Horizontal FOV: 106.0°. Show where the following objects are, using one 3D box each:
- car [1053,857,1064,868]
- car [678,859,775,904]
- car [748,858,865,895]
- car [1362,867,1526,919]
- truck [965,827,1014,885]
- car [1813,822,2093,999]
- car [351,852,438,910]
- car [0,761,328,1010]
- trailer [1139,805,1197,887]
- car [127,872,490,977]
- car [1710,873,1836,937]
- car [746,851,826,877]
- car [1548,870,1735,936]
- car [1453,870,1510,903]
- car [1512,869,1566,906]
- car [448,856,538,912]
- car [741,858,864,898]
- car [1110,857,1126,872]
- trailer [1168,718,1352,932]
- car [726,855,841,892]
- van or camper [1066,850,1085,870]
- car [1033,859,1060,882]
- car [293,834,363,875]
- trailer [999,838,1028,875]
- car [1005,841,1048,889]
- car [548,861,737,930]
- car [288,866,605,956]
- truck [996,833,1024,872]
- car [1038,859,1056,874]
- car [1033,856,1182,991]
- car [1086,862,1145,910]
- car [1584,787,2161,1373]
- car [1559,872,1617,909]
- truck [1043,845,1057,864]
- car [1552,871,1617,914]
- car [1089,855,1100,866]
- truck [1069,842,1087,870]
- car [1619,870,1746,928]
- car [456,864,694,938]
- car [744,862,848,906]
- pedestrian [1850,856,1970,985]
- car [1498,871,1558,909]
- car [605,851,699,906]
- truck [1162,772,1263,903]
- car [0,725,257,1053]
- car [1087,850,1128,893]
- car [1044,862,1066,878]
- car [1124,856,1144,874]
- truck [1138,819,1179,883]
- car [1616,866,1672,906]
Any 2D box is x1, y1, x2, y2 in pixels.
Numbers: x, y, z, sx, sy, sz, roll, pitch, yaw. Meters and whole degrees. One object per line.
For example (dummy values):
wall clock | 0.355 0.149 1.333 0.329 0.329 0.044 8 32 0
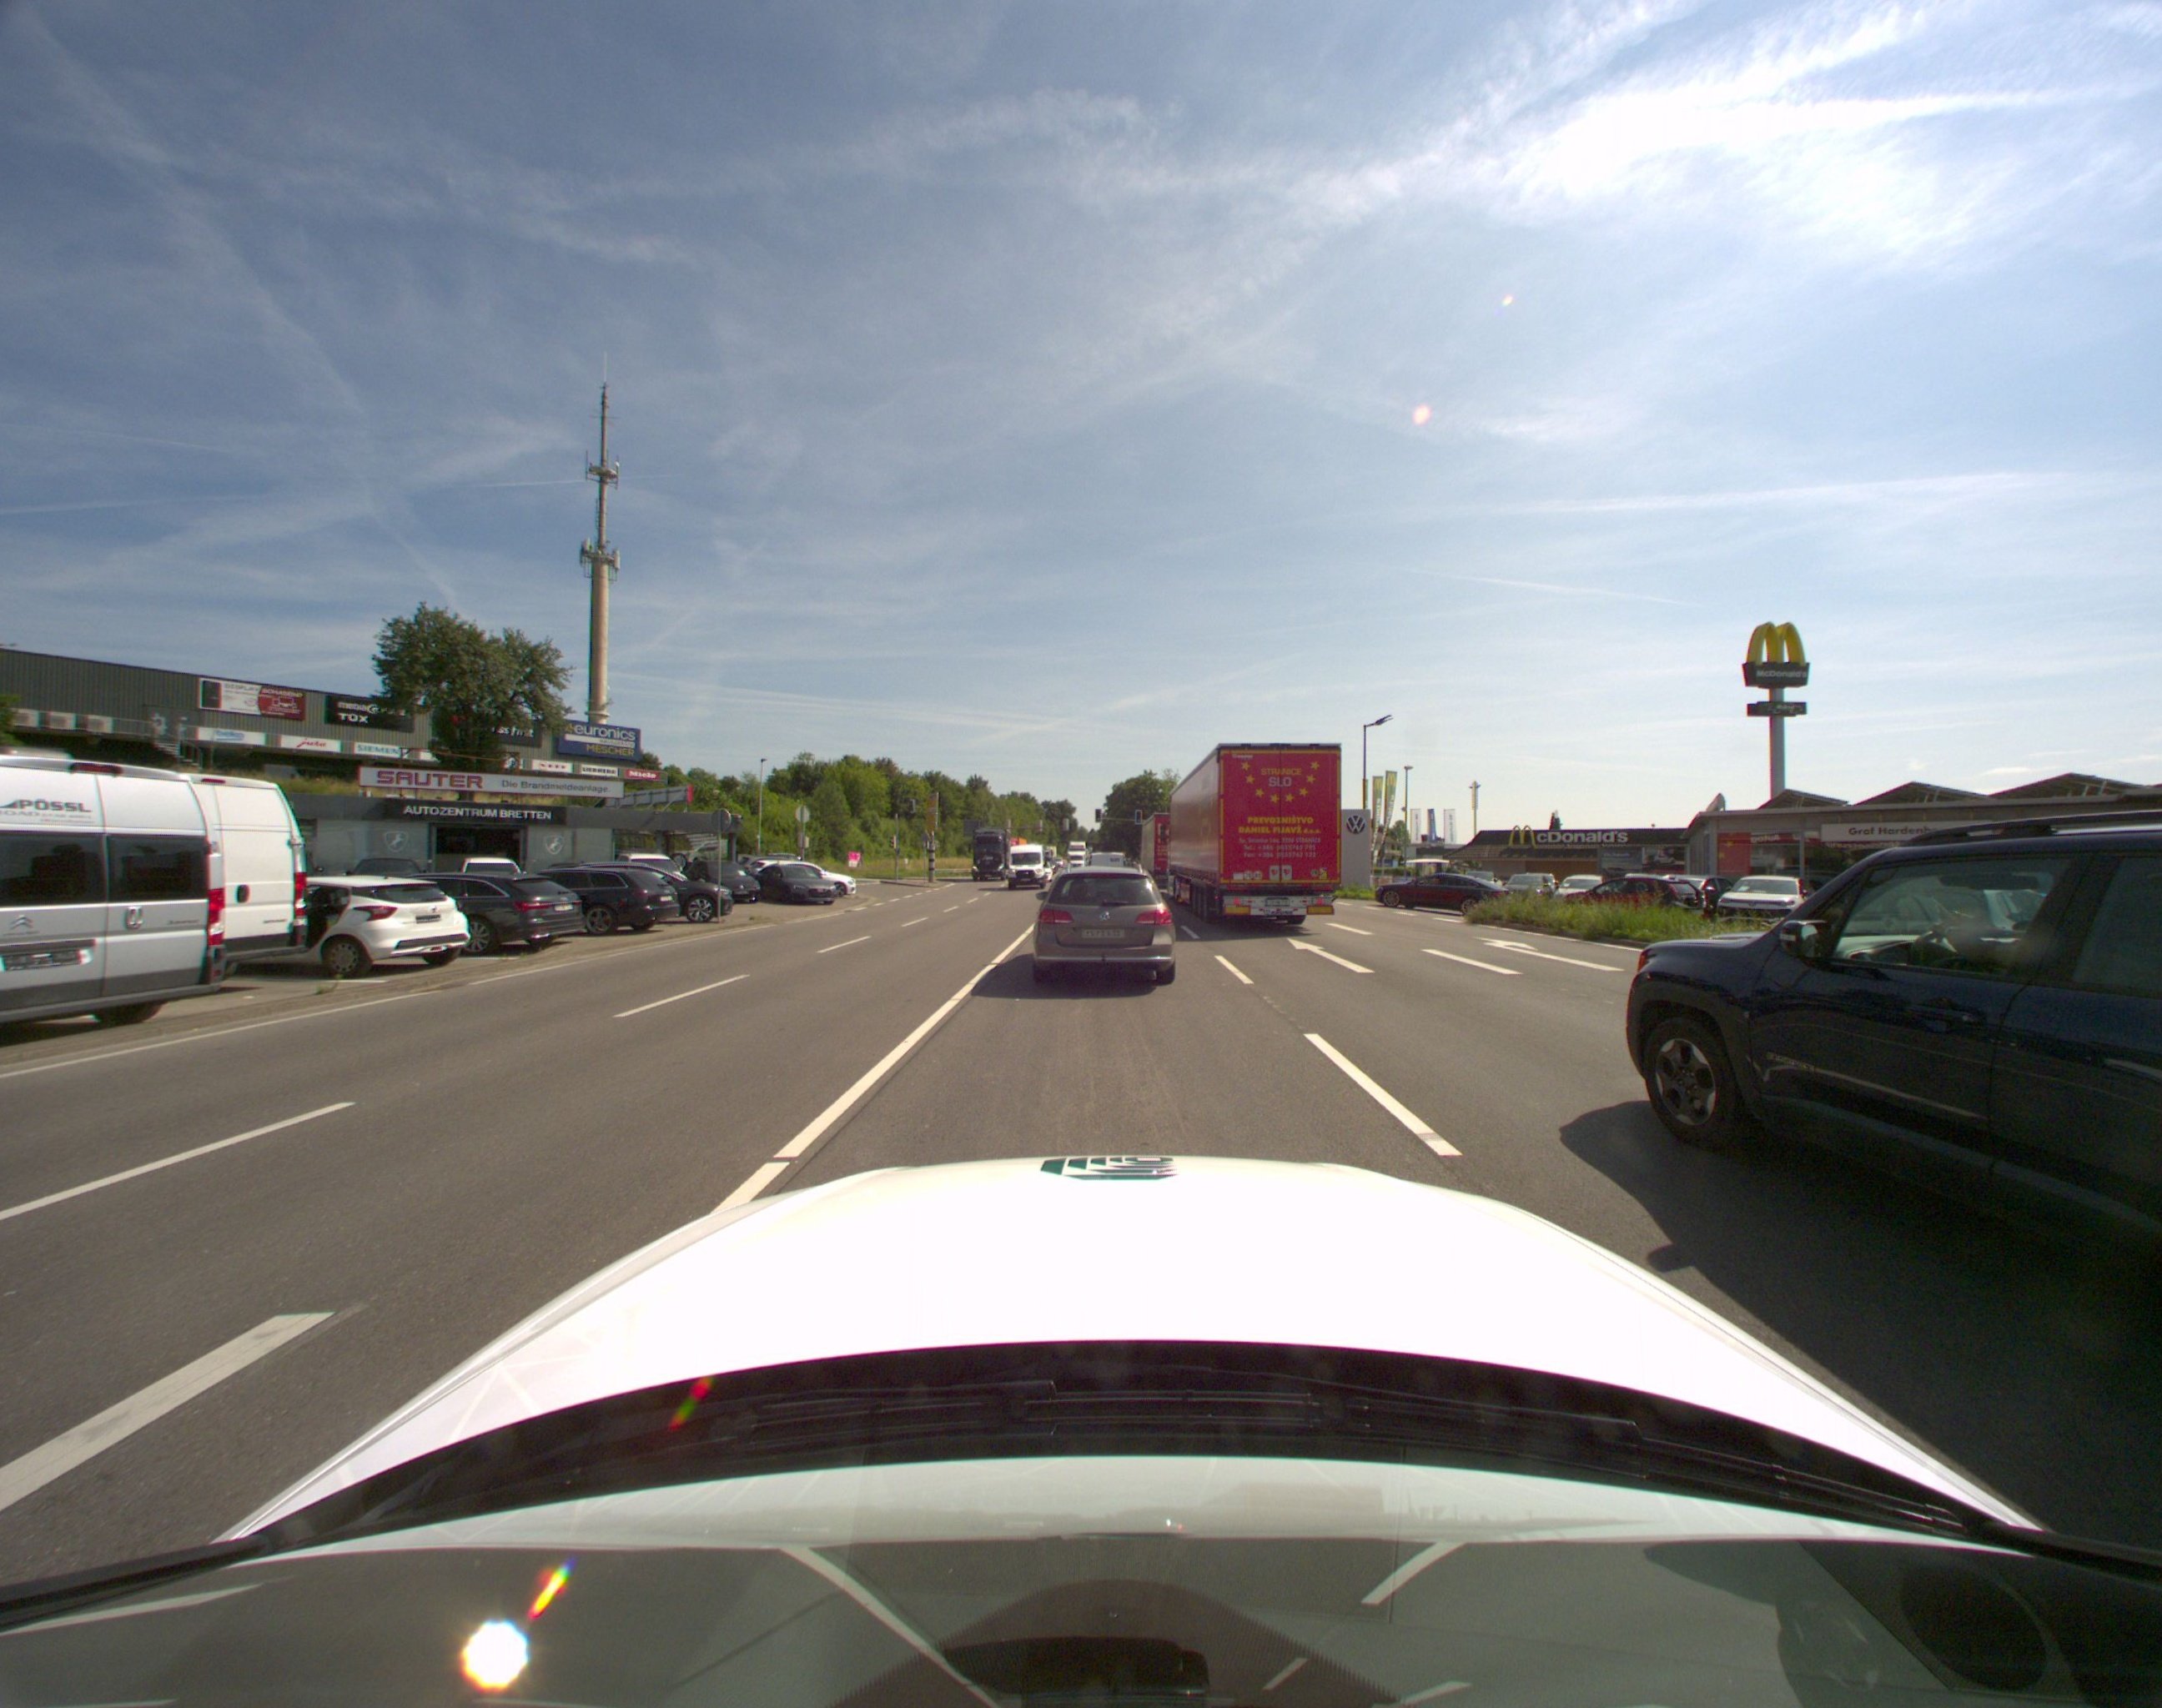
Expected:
car | -3.775 1.468 138.215 1.837 1.732 4.587 1 0 -1
car | -13.345 0.985 30.506 4.291 1.487 1.809 2 0 44
car | -12.738 1.061 37.945 4.738 1.513 1.933 4 -2 -39
car | 12.546 1.329 28.392 1.977 1.332 4.759 6 -2 -43
truck | -6.816 0.193 61.881 2.703 3.998 9.971 0 -1 -1
car | 12.849 0.706 11.959 4.360 2.213 1.747 0 -1 -28
car | -20.527 0.743 24.282 1.826 1.524 4.293 1 0 -42
car | -13.446 0.373 10.460 5.684 2.838 2.118 0 0 3
trailer | 5.003 -0.346 48.928 2.386 4.243 13.081 0 0 2
car | -11.937 1.053 12.791 3.970 1.470 1.883 0 -1 3
car | 20.448 1.429 24.030 4.017 1.671 1.900 0 -1 -36
car | -20.033 0.722 55.374 4.661 1.527 1.892 4 -2 -43
car | 15.711 1.331 23.081 1.778 1.654 4.044 2 -2 -24
car | 20.560 1.625 41.766 1.837 1.576 4.260 -1 -1 37
car | 22.527 1.582 39.988 1.753 1.671 3.934 -1 -1 37
car | -18.534 0.887 25.600 1.837 1.524 4.094 1 0 -42
car | -12.066 1.050 35.413 4.732 1.475 1.874 4 -2 -32
car | 5.068 1.414 112.907 1.987 2.014 3.998 0 -1 -1
trailer | 4.415 -0.550 23.445 2.828 4.365 13.174 2 0 2
car | -14.397 0.961 39.616 4.820 1.626 1.909 4 -3 -40
van or camper | -0.704 0.766 108.767 2.323 2.600 6.978 0 -1 0
car | -2.437 1.163 58.159 1.648 1.555 4.000 -2 -1 0
car | -31.886 0.064 34.606 2.010 1.563 4.022 3 -3 -41
trailer | -7.799 0.343 95.367 2.714 3.998 12.223 0 -1 -2
car | -3.059 0.618 47.000 2.052 2.510 7.111 0 -1 -1
car | -11.375 1.019 21.414 4.191 1.623 2.013 0 -1 -26
car | -11.751 1.019 15.346 4.353 1.530 2.029 0 -1 0
truck | -7.583 -0.130 87.525 2.714 3.998 6.052 0 -1 -2
car | -3.897 1.390 93.724 1.902 1.602 4.587 -2 0 -1
car | 0.281 0.803 11.243 1.686 1.513 3.998 0 -1 -1
car | 1.106 1.029 27.717 1.765 1.513 3.998 0 -1 -1
car | 3.954 0.639 3.046 1.764 1.654 4.001 0 -1 2
car | 22.119 1.554 35.451 1.773 1.450 4.181 -1 -1 37
truck | -6.944 0.118 183.241 2.721 3.999 9.616 0 -1 -1
car | 19.739 1.432 31.847 1.727 1.492 4.291 -1 -1 37
car | 2.450 1.291 152.546 1.987 2.014 3.998 0 -1 -1
truck | -0.454 0.284 122.410 2.530 4.088 6.262 0 -1 -1
car | 19.302 1.375 26.123 4.036 1.671 1.759 0 -1 -29
car | -11.159 1.001 18.206 4.020 1.530 2.032 0 -1 1
car | -11.120 1.106 31.588 4.584 1.436 1.985 2 0 45
pedestrian | 10.774 0.818 10.594 0.760 1.584 0.929 0 -1 -31
car | 20.091 1.561 36.556 1.753 1.532 4.116 -1 -1 37
car | -15.282 0.813 28.917 1.903 1.749 4.416 1 0 -42
truck | 4.664 -0.528 30.001 2.859 4.281 5.841 2 -1 2
car | -11.862 0.321 7.949 5.543 2.773 2.178 0 -1 3
car | 1.219 0.807 38.718 1.765 1.936 3.976 0 -1 -1
car | -2.427 1.491 77.181 1.705 1.443 4.381 -2 -1 2
car | 6.009 1.274 92.368 1.987 2.014 3.998 0 -1 -1
truck | 5.204 -0.181 55.562 2.397 4.128 5.522 0 -1 1
car | 26.206 1.433 37.838 1.888 1.671 4.849 -1 -1 37
